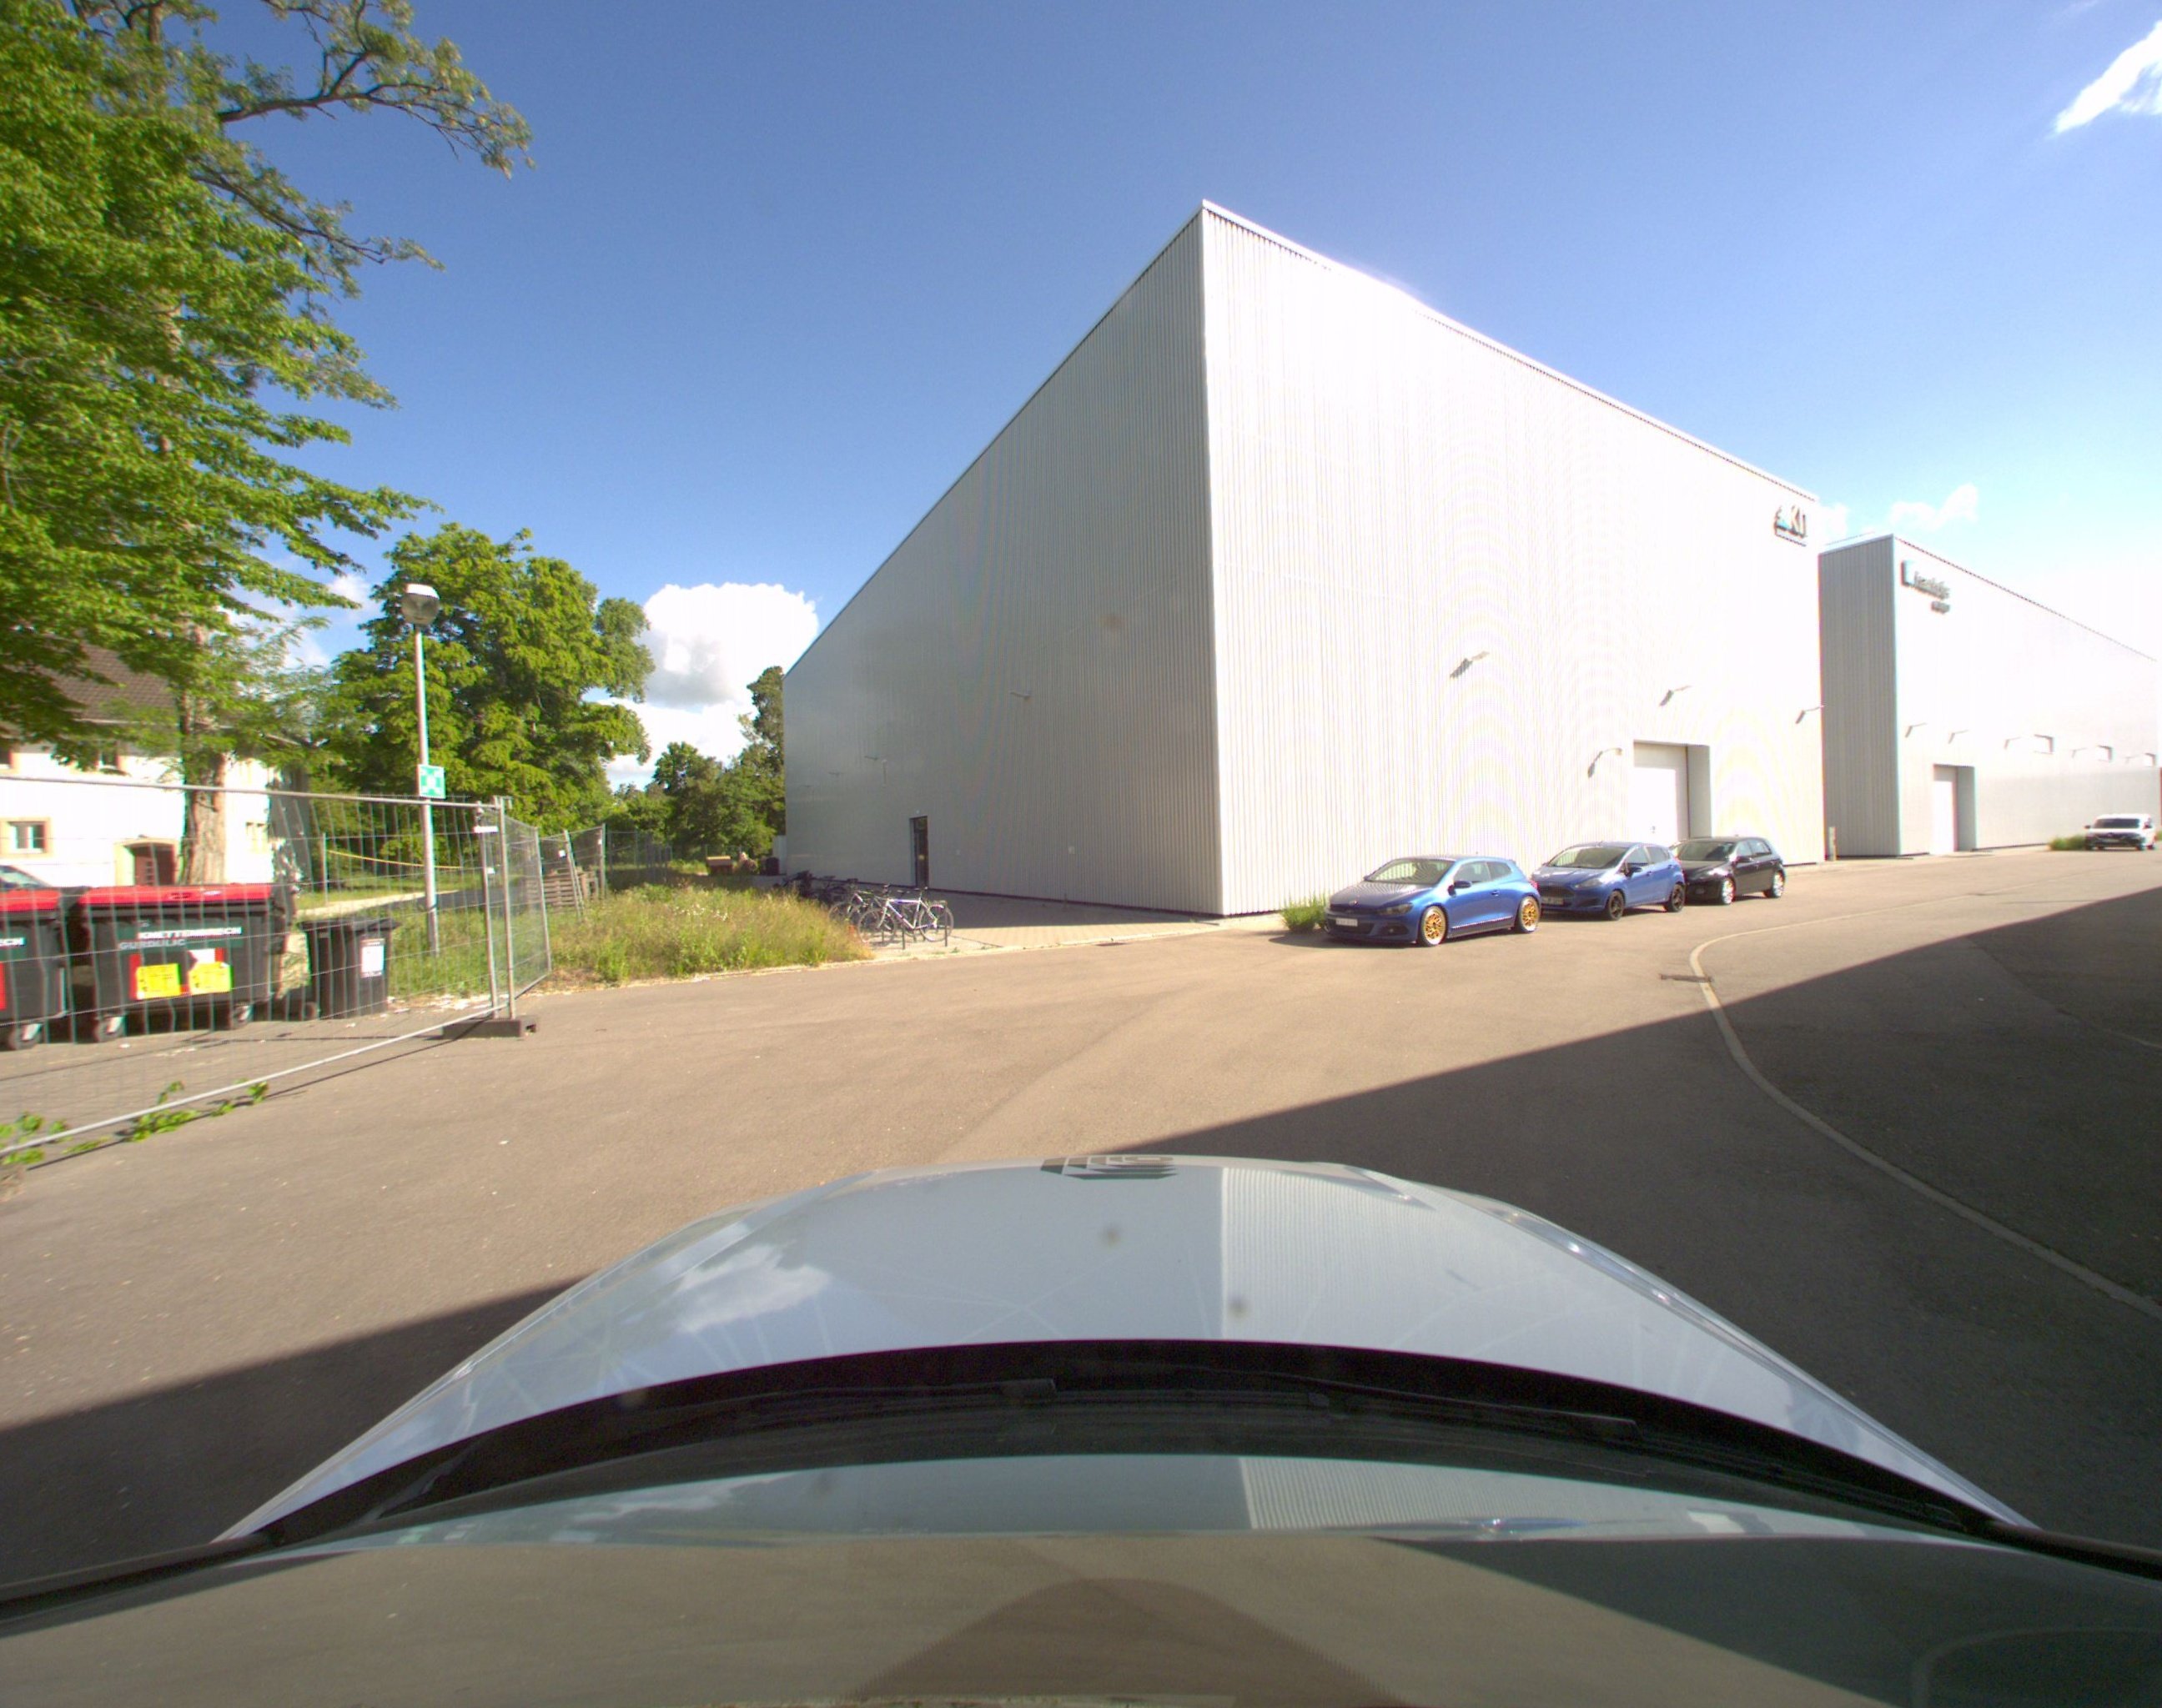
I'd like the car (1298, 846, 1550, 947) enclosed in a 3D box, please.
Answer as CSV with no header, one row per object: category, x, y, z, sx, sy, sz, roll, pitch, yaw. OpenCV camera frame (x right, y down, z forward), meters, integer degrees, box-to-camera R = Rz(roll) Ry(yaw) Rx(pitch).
car,5.750,0.601,13.521,4.183,1.384,1.738,-1,0,-32

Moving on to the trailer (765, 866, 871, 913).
trailer,-7.734,1.007,23.972,2.728,1.199,1.233,-3,0,-31

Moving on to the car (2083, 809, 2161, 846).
car,51.886,-1.342,40.515,4.308,1.756,1.696,-2,2,-27

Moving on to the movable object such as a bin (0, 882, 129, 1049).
movable object such as a bin,-9.935,1.012,7.460,1.296,1.426,1.022,-2,0,-33

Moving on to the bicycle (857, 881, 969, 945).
bicycle,-2.984,1.032,14.561,1.896,0.978,0.429,-3,0,-31

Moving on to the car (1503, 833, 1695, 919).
car,10.497,0.356,16.443,3.911,1.473,1.738,-2,3,-32

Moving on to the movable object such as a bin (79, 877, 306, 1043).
movable object such as a bin,-8.828,0.987,8.196,1.297,1.426,1.021,-2,0,-34

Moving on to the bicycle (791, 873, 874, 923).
bicycle,-6.173,1.067,20.279,1.896,1.104,0.429,-3,0,-31

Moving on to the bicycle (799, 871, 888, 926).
bicycle,-5.524,1.018,18.989,1.896,1.126,0.429,-3,0,-31

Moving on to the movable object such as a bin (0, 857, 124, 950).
movable object such as a bin,-25.050,1.156,17.811,4.906,1.970,1.913,-3,0,-33

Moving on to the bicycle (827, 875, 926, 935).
bicycle,-4.183,1.030,16.749,1.896,1.082,0.429,-3,0,-31

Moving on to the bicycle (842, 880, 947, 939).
bicycle,-3.550,1.041,15.602,1.896,0.978,0.429,-3,0,-31

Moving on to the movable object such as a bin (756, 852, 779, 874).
movable object such as a bin,-25.398,0.719,65.885,1.371,1.656,2.816,-2,0,-28

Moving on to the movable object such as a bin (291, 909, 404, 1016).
movable object such as a bin,-7.749,1.130,8.630,0.642,1.007,0.602,-2,0,-15

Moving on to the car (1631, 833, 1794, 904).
car,14.721,0.256,18.945,3.911,1.418,1.738,-2,3,-32
